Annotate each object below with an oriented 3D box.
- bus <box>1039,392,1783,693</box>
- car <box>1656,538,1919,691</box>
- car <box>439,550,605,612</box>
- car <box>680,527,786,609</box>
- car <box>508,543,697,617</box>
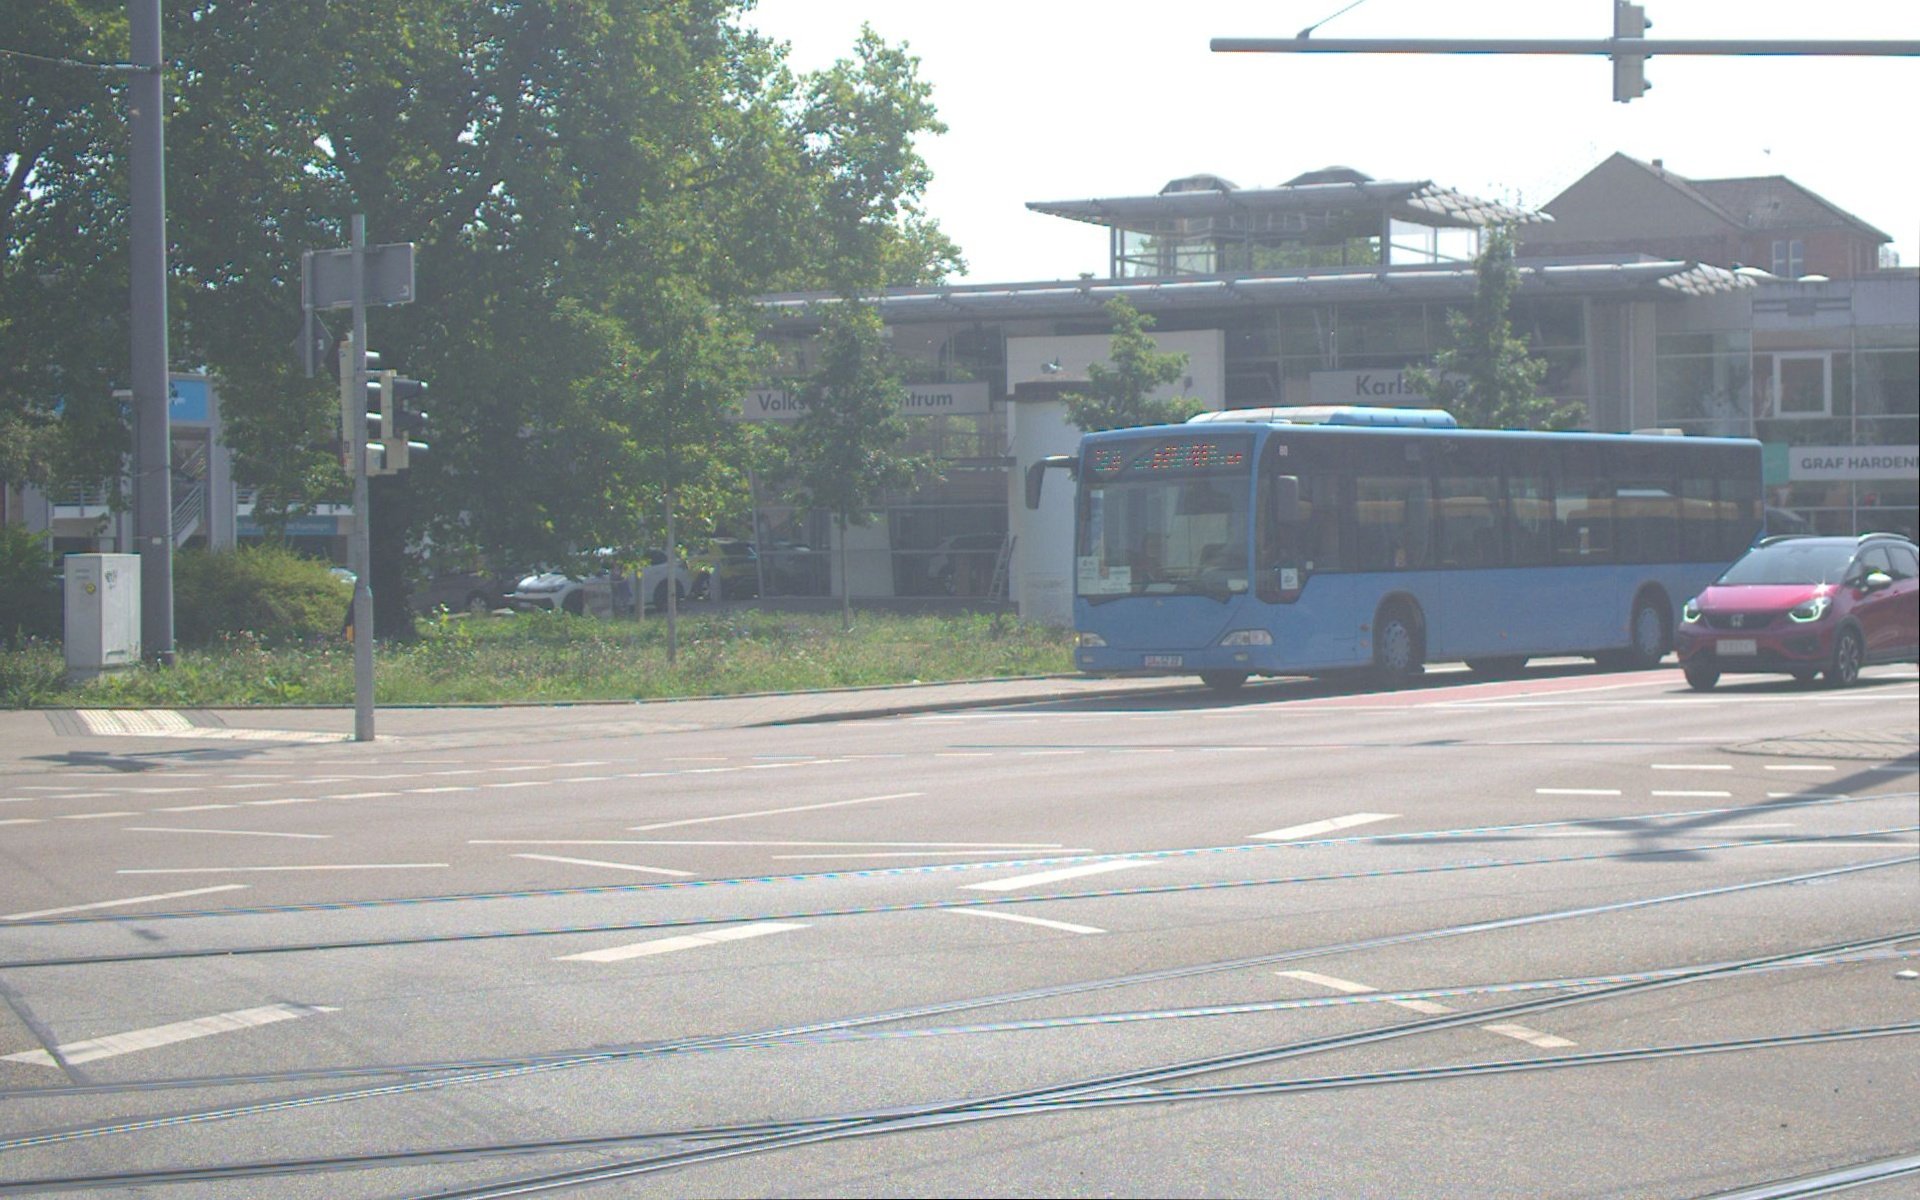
[{"bbox_3d":[5.708,-0.691,40.404,2.731,3.054,12.055,1,1,39],"label":"bus"},{"bbox_3d":[8.741,0.103,35.322,1.628,1.467,3.764,1,1,38],"label":"car"},{"bbox_3d":[-11.085,-0.498,87.239,1.998,1.503,3.992,0,1,36],"label":"car"},{"bbox_3d":[-5.828,-0.866,89.106,2.326,2.007,6.809,1,1,-1],"label":"car"},{"bbox_3d":[-8.695,-0.505,83.731,4.246,1.747,1.716,-1,1,-35],"label":"car"}]
